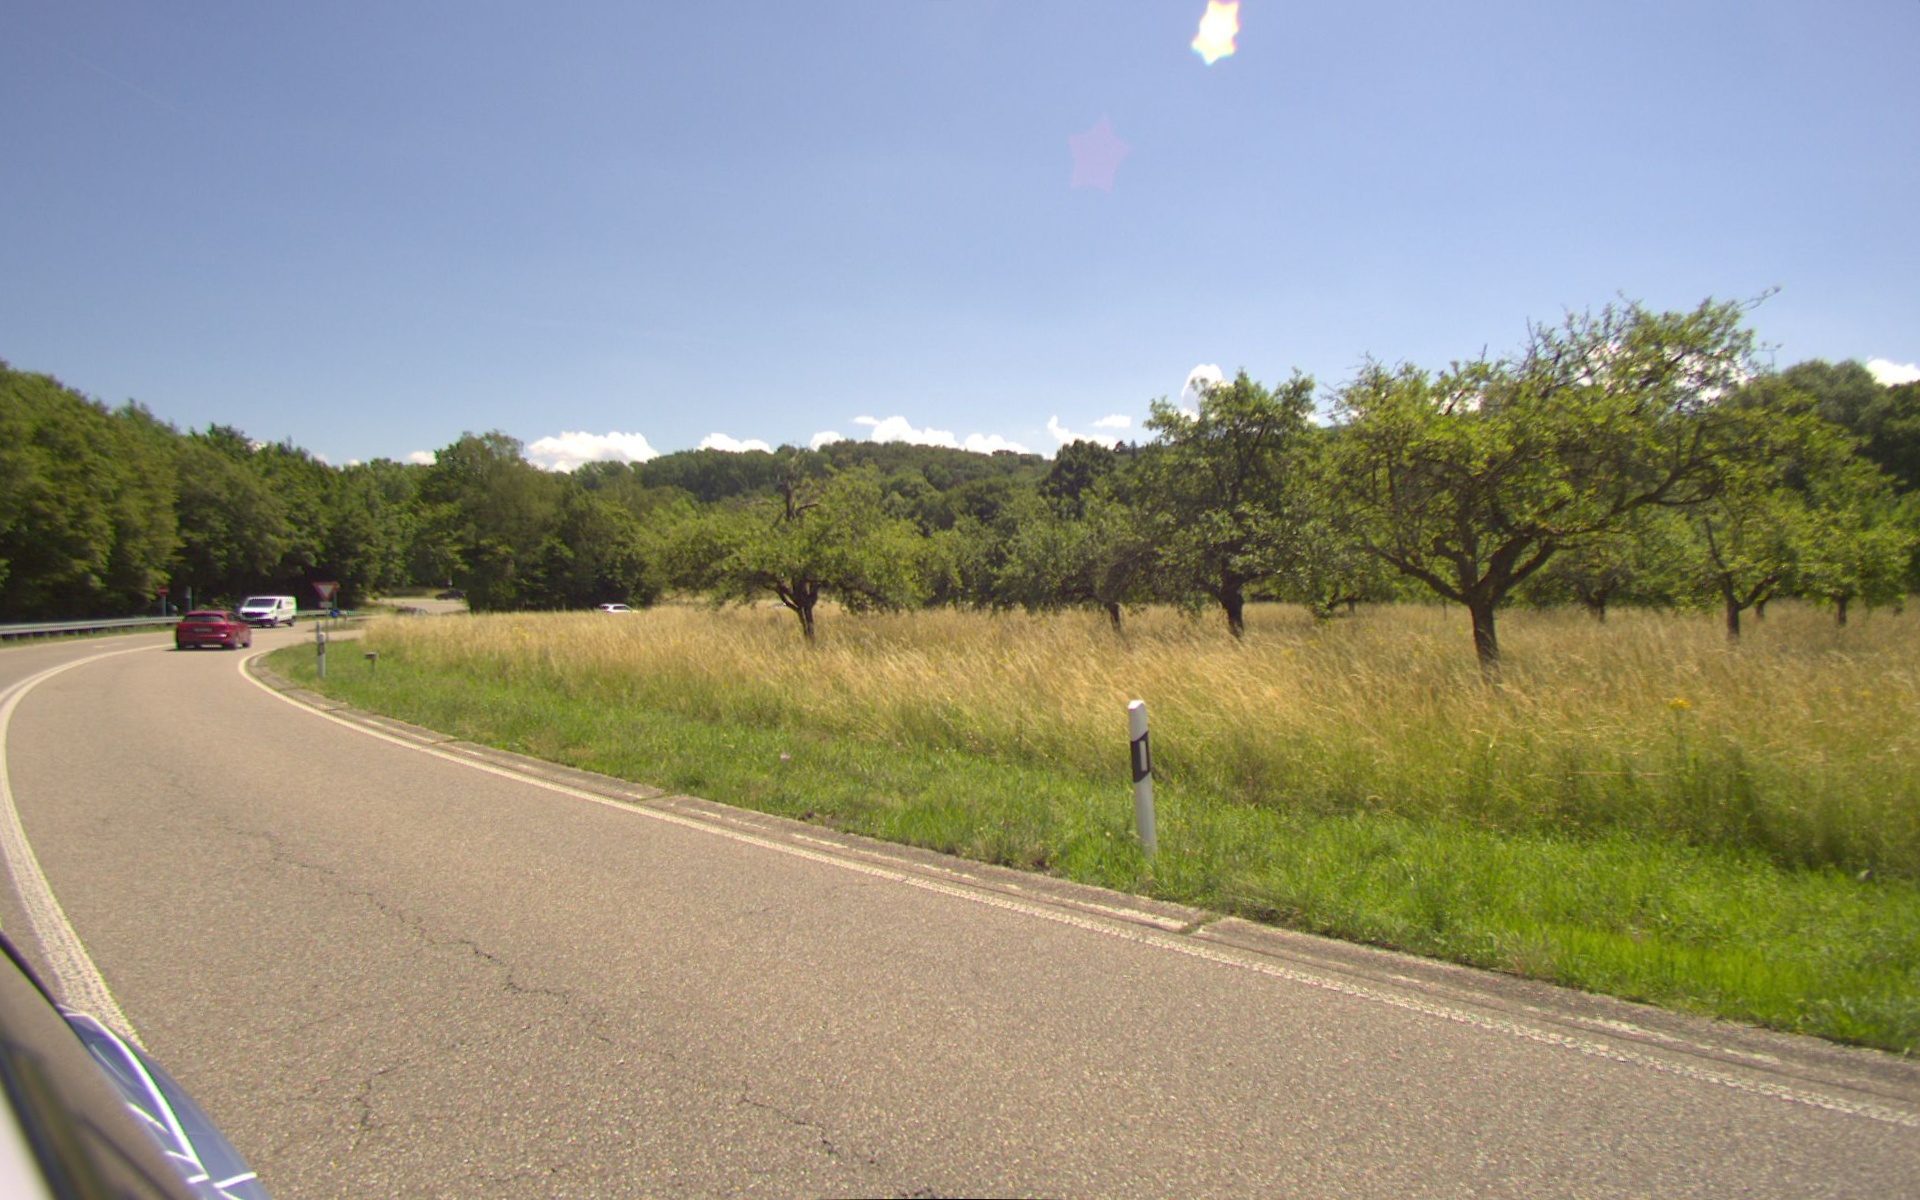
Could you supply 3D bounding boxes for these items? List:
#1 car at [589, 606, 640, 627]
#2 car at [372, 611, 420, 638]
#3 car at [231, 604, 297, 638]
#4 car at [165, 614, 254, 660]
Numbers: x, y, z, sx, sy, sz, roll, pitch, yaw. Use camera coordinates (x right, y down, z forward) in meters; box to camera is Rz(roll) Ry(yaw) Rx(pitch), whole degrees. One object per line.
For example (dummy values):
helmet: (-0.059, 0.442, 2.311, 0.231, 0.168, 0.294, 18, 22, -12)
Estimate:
car: (-28.965, 1.370, 84.964, 1.815, 1.602, 4.189, 2, -1, 20)
car: (-35.413, 1.503, 63.606, 1.711, 1.518, 4.084, -1, 0, -16)
car: (-45.149, 1.334, 65.782, 2.187, 2.048, 5.445, -2, 0, -20)
car: (-27.598, 1.334, 37.363, 1.796, 1.469, 4.414, 3, -2, -26)
